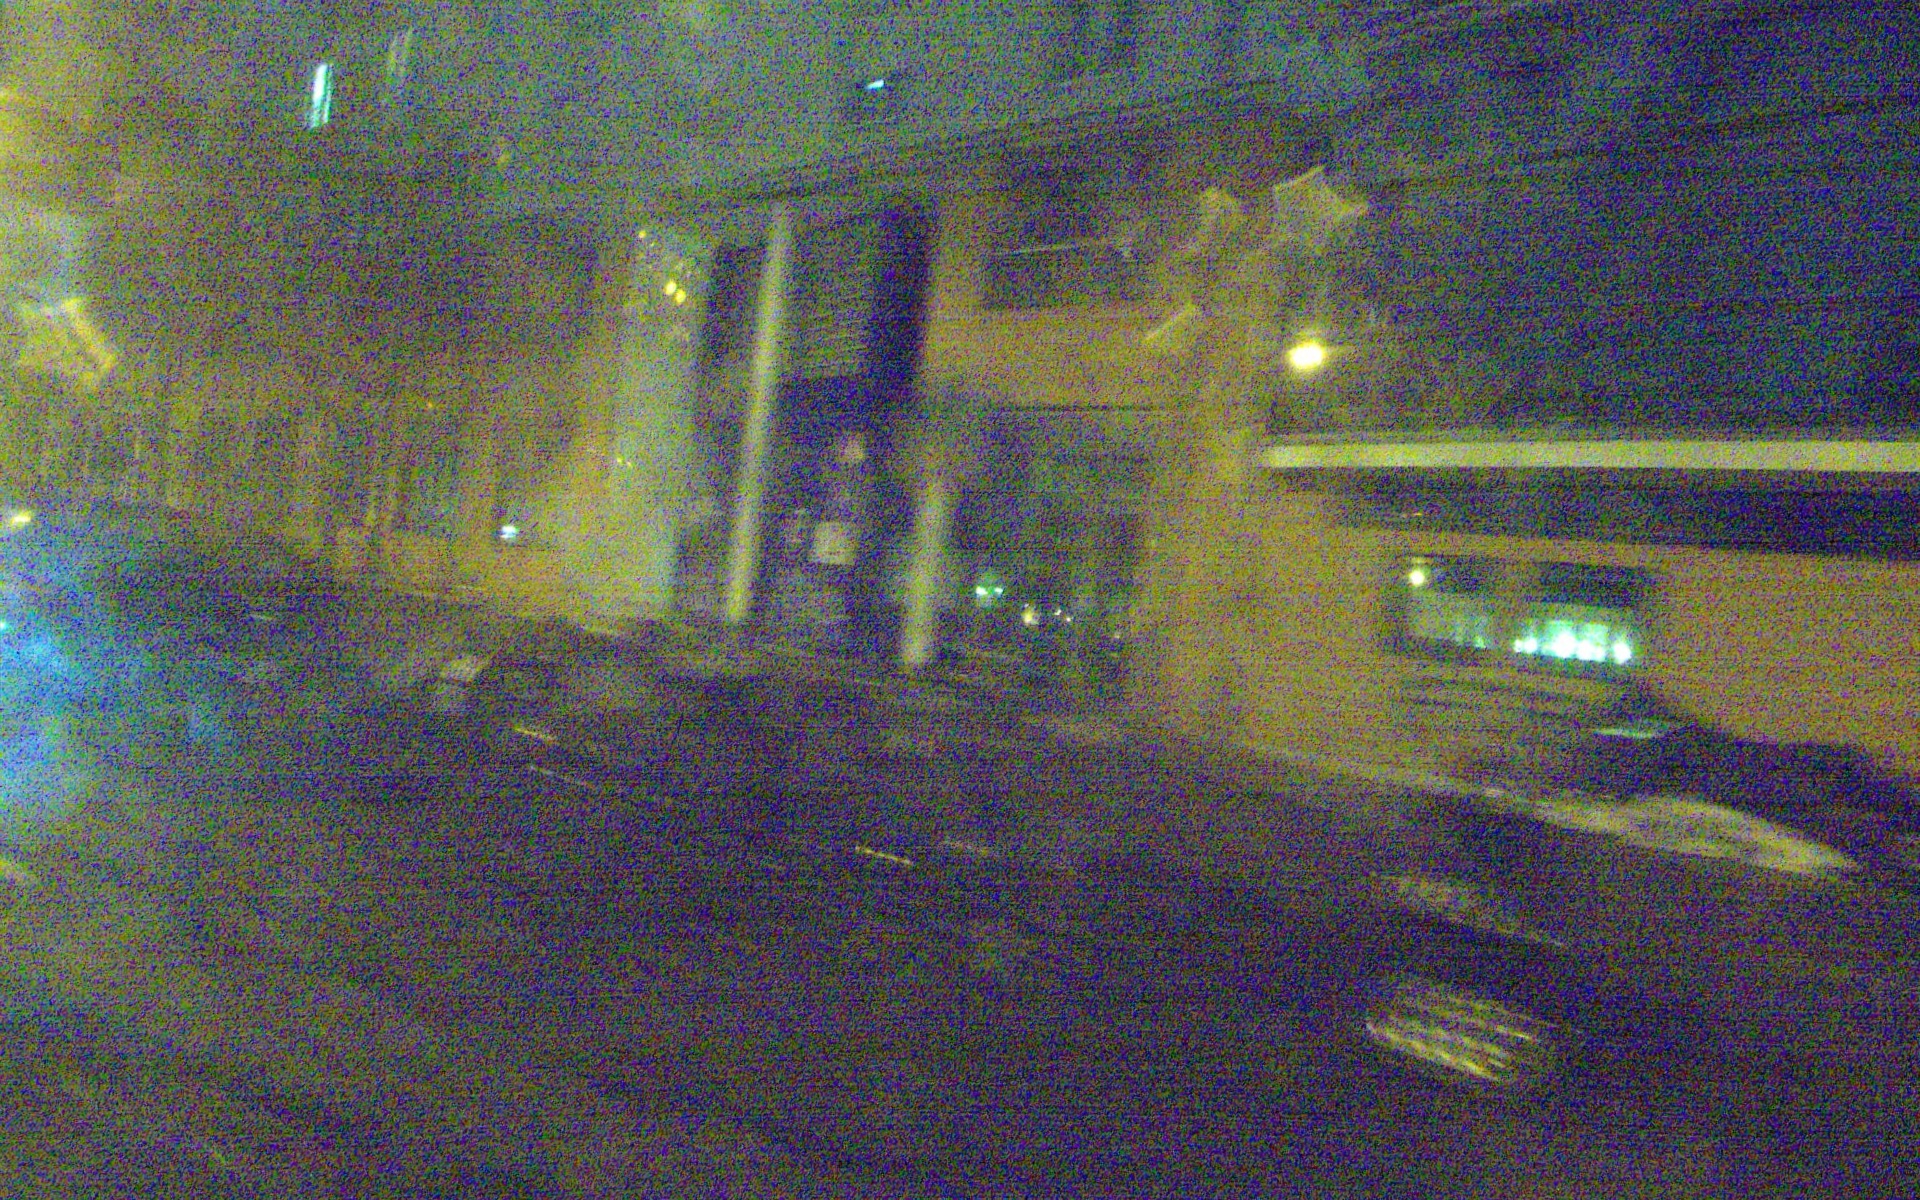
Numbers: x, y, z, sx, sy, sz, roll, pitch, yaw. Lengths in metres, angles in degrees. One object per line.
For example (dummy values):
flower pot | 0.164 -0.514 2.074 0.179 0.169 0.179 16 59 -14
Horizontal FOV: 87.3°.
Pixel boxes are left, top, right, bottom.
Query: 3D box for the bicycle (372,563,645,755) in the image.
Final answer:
bicycle | -3.133 0.425 7.104 0.531 1.173 1.593 8 2 41

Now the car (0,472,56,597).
car | -15.164 -1.165 13.489 1.823 1.785 4.112 8 -2 11

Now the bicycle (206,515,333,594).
bicycle | -11.344 -0.720 16.578 0.421 1.162 1.687 7 2 25

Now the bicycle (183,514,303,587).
bicycle | -12.638 -0.851 17.795 0.421 1.162 1.687 7 2 25

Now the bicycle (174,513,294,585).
bicycle | -13.044 -0.895 18.133 0.477 1.162 1.687 7 2 25

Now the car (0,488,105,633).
car | -11.399 -0.567 10.746 1.476 1.570 3.052 8 -2 12

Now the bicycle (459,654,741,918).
bicycle | -1.538 0.750 4.467 0.297 0.961 1.211 8 3 30

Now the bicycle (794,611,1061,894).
bicycle | -0.104 0.746 5.319 0.411 1.250 1.579 8 1 35

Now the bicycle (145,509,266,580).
bicycle | -14.065 -1.013 18.801 0.586 1.162 1.687 7 2 25

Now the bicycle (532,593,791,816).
bicycle | -1.783 0.609 6.248 0.411 1.173 1.597 8 1 30

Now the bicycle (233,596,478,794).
bicycle | -3.345 0.512 5.650 0.244 0.987 1.133 8 2 31

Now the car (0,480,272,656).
car | -9.039 -0.357 9.851 1.625 1.542 3.712 6 1 8

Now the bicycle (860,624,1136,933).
bicycle | 0.263 0.798 4.952 0.379 1.250 1.664 8 1 35

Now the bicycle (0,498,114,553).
bicycle | -20.615 -1.681 22.917 0.501 1.068 1.974 7 2 27

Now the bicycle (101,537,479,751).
bicycle | -4.318 0.299 6.634 0.669 1.173 1.888 8 1 36

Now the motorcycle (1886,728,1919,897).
motorcycle | 8.024 1.688 7.038 2.090 1.222 0.523 7 0 32

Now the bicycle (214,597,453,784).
bicycle | -3.574 0.489 5.811 0.263 0.961 1.132 8 3 31

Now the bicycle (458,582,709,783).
bicycle | -2.469 0.534 6.796 0.411 1.173 1.597 8 1 30

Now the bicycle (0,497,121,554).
bicycle | -20.175 -1.646 22.583 0.501 1.068 1.974 7 2 27

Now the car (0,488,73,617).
car | -13.441 -0.797 12.214 1.680 1.629 3.570 8 -2 12

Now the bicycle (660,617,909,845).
bicycle | -0.960 0.714 5.917 0.411 1.126 1.597 8 1 30

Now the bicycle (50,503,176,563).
bicycle | -17.984 -1.409 21.417 0.501 1.068 1.974 7 2 27

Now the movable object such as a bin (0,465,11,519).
movable object such as a bin | -27.197 -3.059 27.792 0.982 1.471 1.208 7 4 33

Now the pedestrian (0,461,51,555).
pedestrian | -19.428 -1.895 20.695 0.931 1.861 0.838 6 4 30

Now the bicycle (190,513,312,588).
bicycle | -12.223 -0.832 17.393 0.421 1.162 1.687 7 2 25

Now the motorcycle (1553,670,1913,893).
motorcycle | 6.060 1.377 8.053 2.088 1.334 0.524 7 0 27

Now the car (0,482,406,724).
car | -6.618 -0.051 8.244 1.625 1.542 3.712 6 1 8

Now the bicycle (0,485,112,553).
bicycle | -21.243 -1.879 23.557 0.771 1.353 1.968 7 2 39

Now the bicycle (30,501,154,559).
bicycle | -18.991 -1.517 22.065 0.501 1.068 1.974 7 2 27

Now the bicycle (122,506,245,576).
bicycle | -14.742 -1.097 19.137 0.653 1.162 1.687 7 2 25

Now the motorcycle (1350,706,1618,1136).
motorcycle | 2.024 1.086 3.975 0.641 1.139 1.635 7 2 26

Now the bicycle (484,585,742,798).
bicycle | -2.157 0.558 6.465 0.411 1.173 1.597 8 1 30
